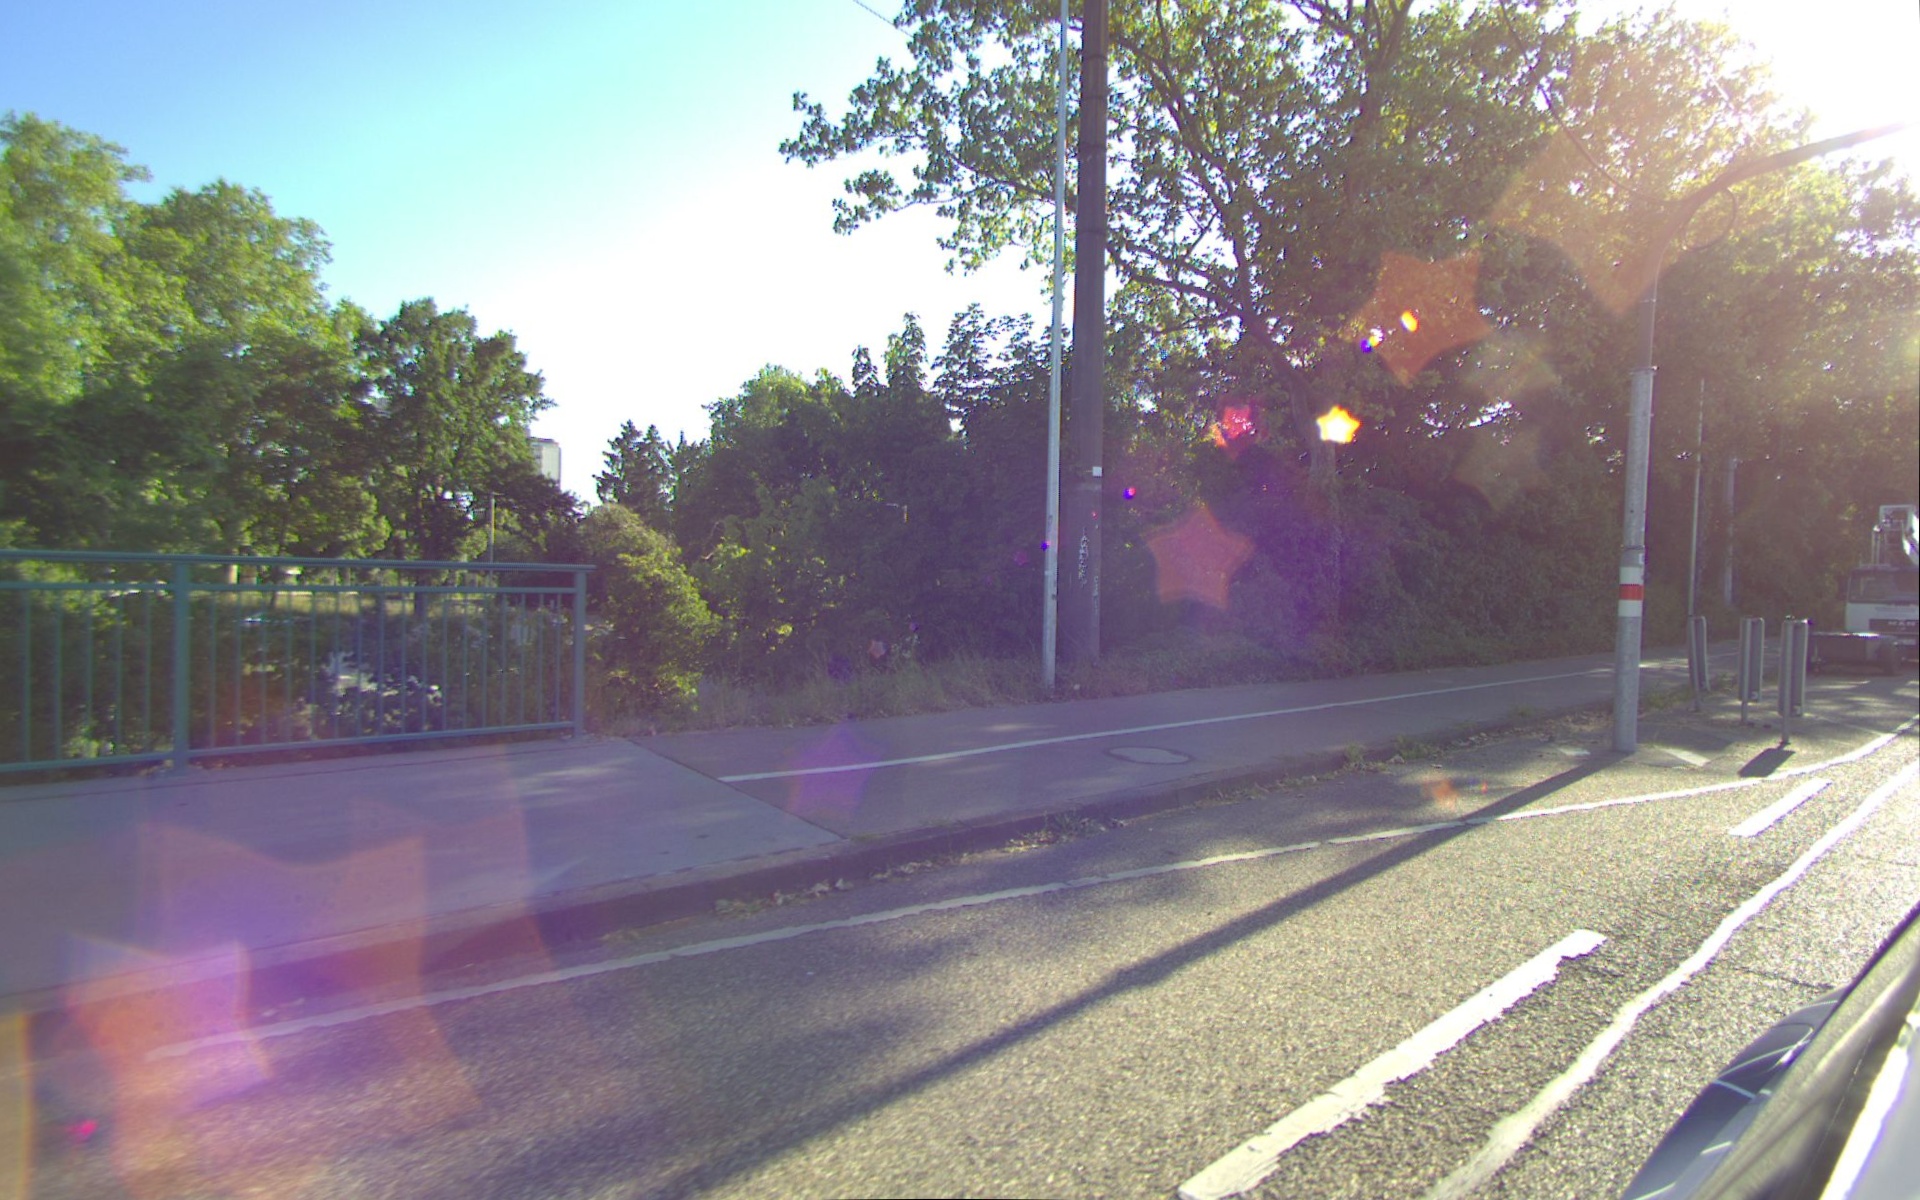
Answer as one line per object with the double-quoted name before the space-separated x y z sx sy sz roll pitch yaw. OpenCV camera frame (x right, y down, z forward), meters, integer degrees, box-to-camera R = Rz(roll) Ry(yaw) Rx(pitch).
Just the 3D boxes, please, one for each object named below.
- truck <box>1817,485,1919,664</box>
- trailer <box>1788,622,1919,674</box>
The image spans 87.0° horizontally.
"truck" 23.940 -0.557 25.084 9.591 3.831 2.721 0 0 -41
"trailer" 18.557 0.945 20.992 3.440 0.870 1.579 0 2 -41
